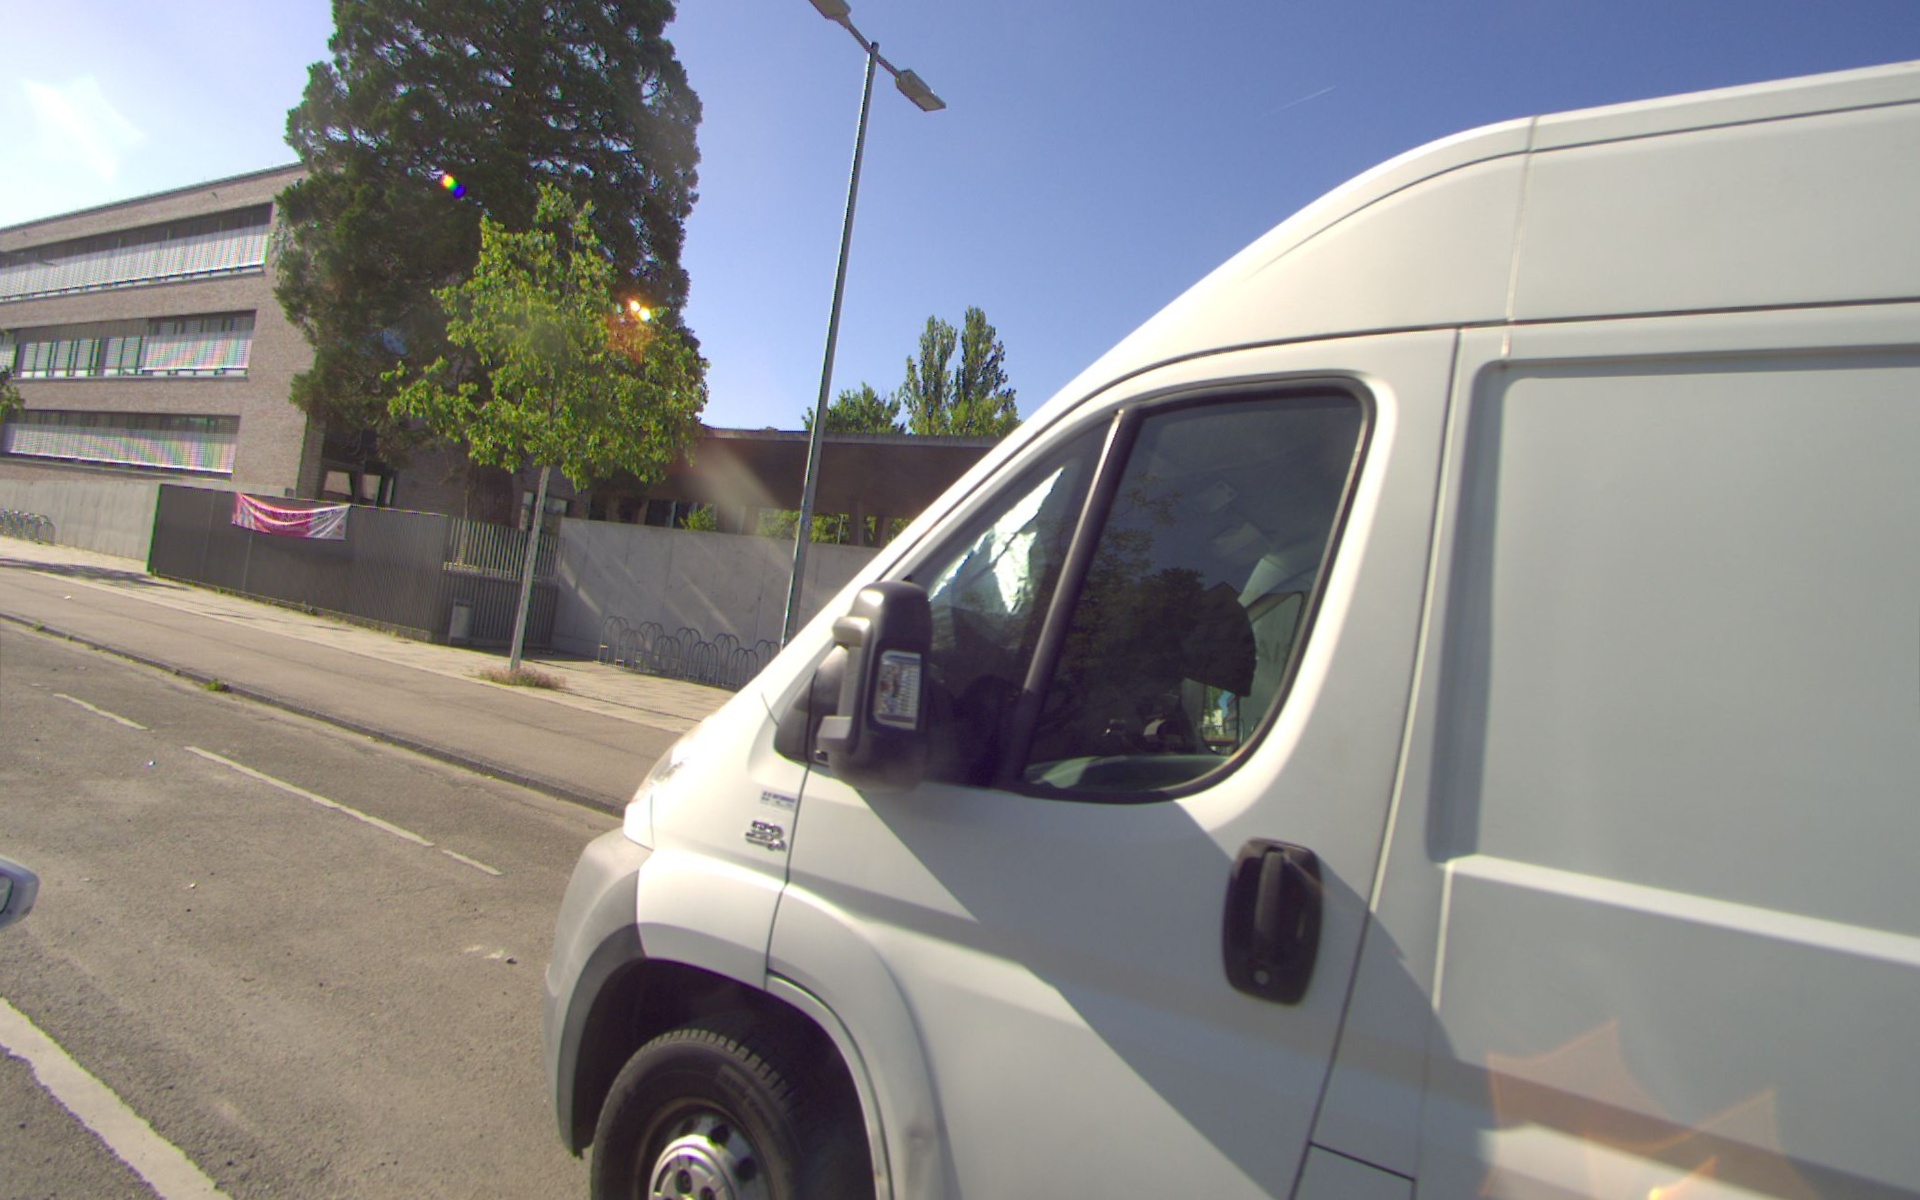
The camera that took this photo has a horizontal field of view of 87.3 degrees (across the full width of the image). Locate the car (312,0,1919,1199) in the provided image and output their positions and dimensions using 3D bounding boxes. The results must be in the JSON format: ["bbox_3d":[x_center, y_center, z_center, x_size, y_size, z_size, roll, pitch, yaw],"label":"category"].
[{"bbox_3d":[1.541,0.486,1.861,5.342,2.602,2.247,7,-3,32],"label":"car"}]
